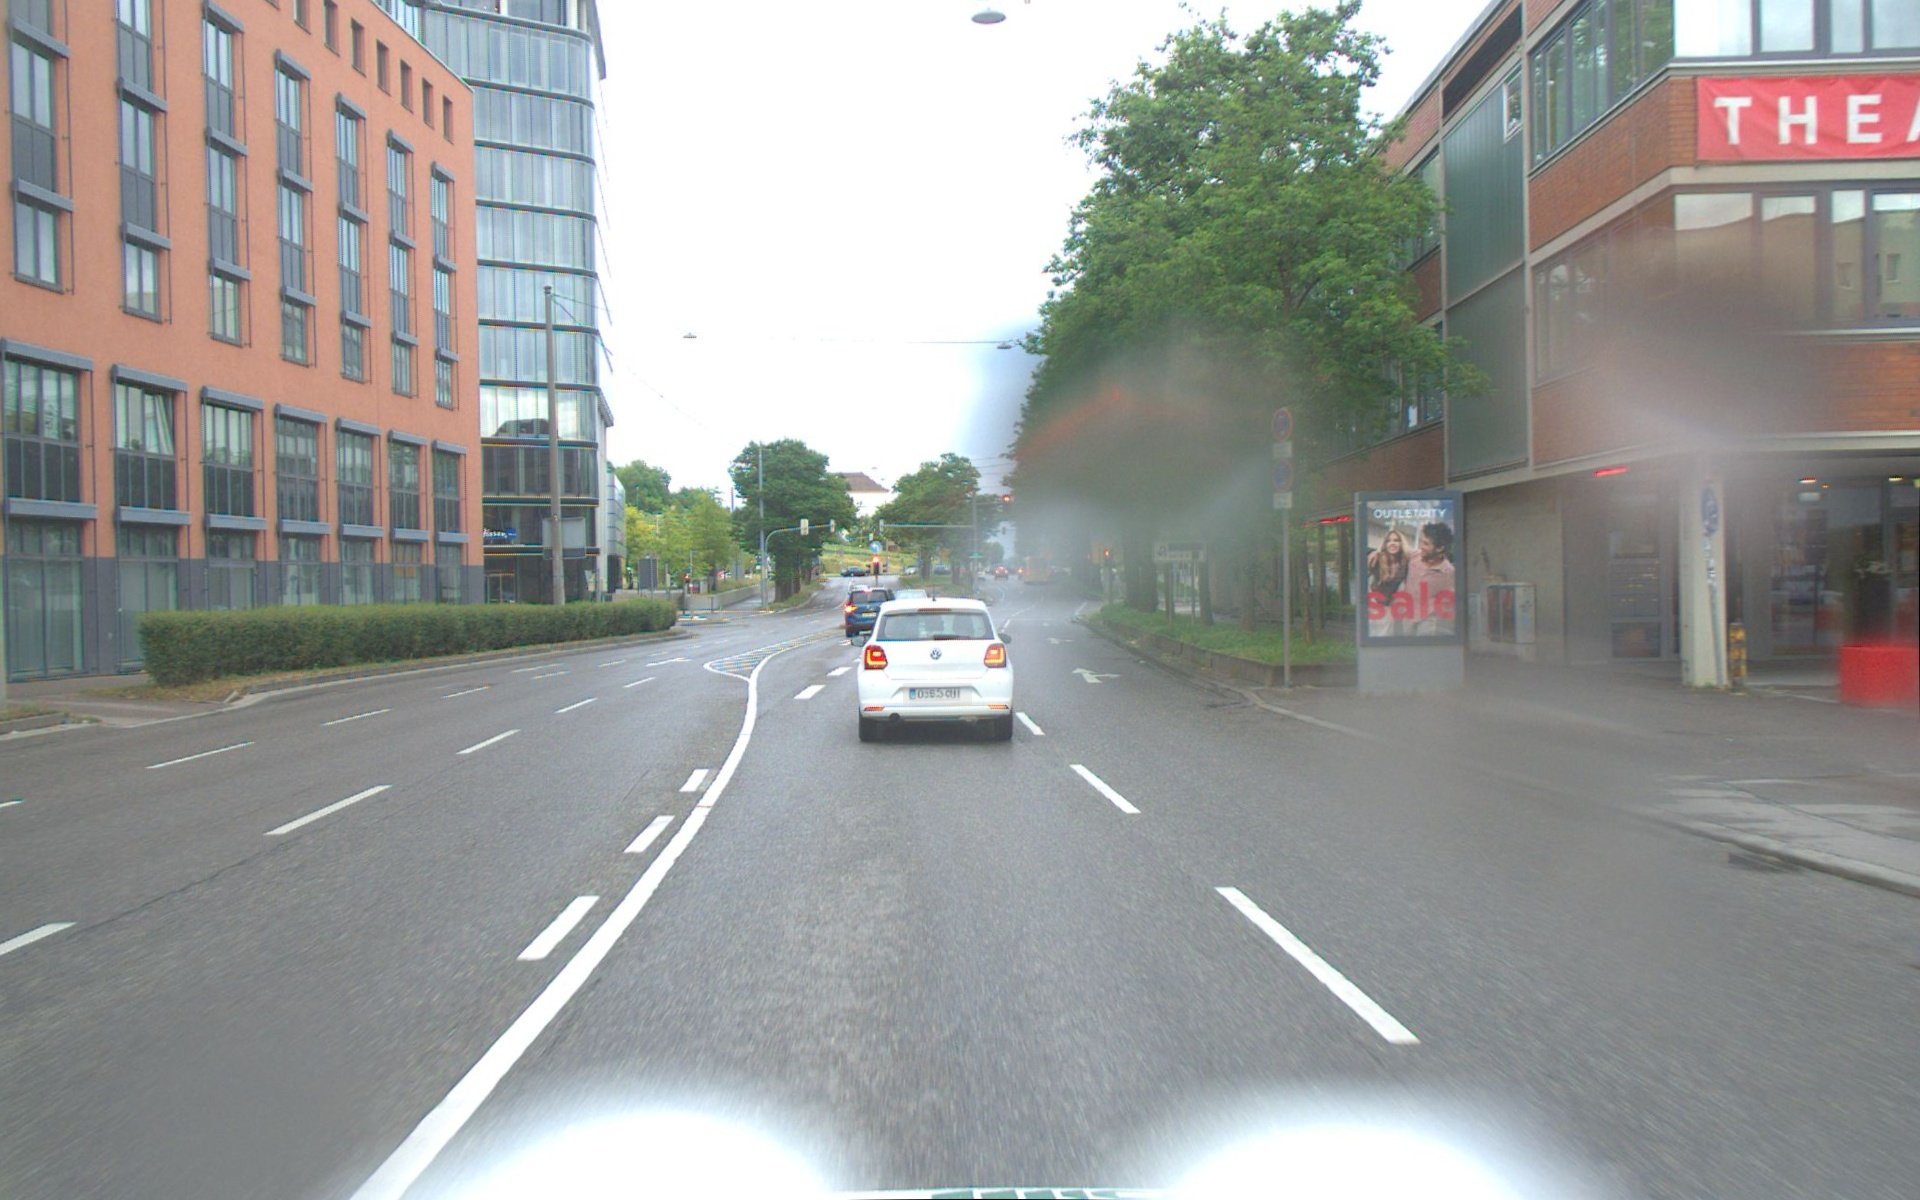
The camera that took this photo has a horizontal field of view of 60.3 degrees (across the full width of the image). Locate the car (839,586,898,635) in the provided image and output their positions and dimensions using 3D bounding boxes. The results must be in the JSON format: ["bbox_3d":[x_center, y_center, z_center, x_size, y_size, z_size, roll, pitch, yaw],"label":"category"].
[{"bbox_3d":[-3.211,0.339,58.270,1.954,1.601,3.998,-1,0,-3],"label":"car"}]

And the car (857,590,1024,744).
[{"bbox_3d":[-0.291,0.659,18.396,1.638,1.499,3.777,-1,0,-3],"label":"car"}]
